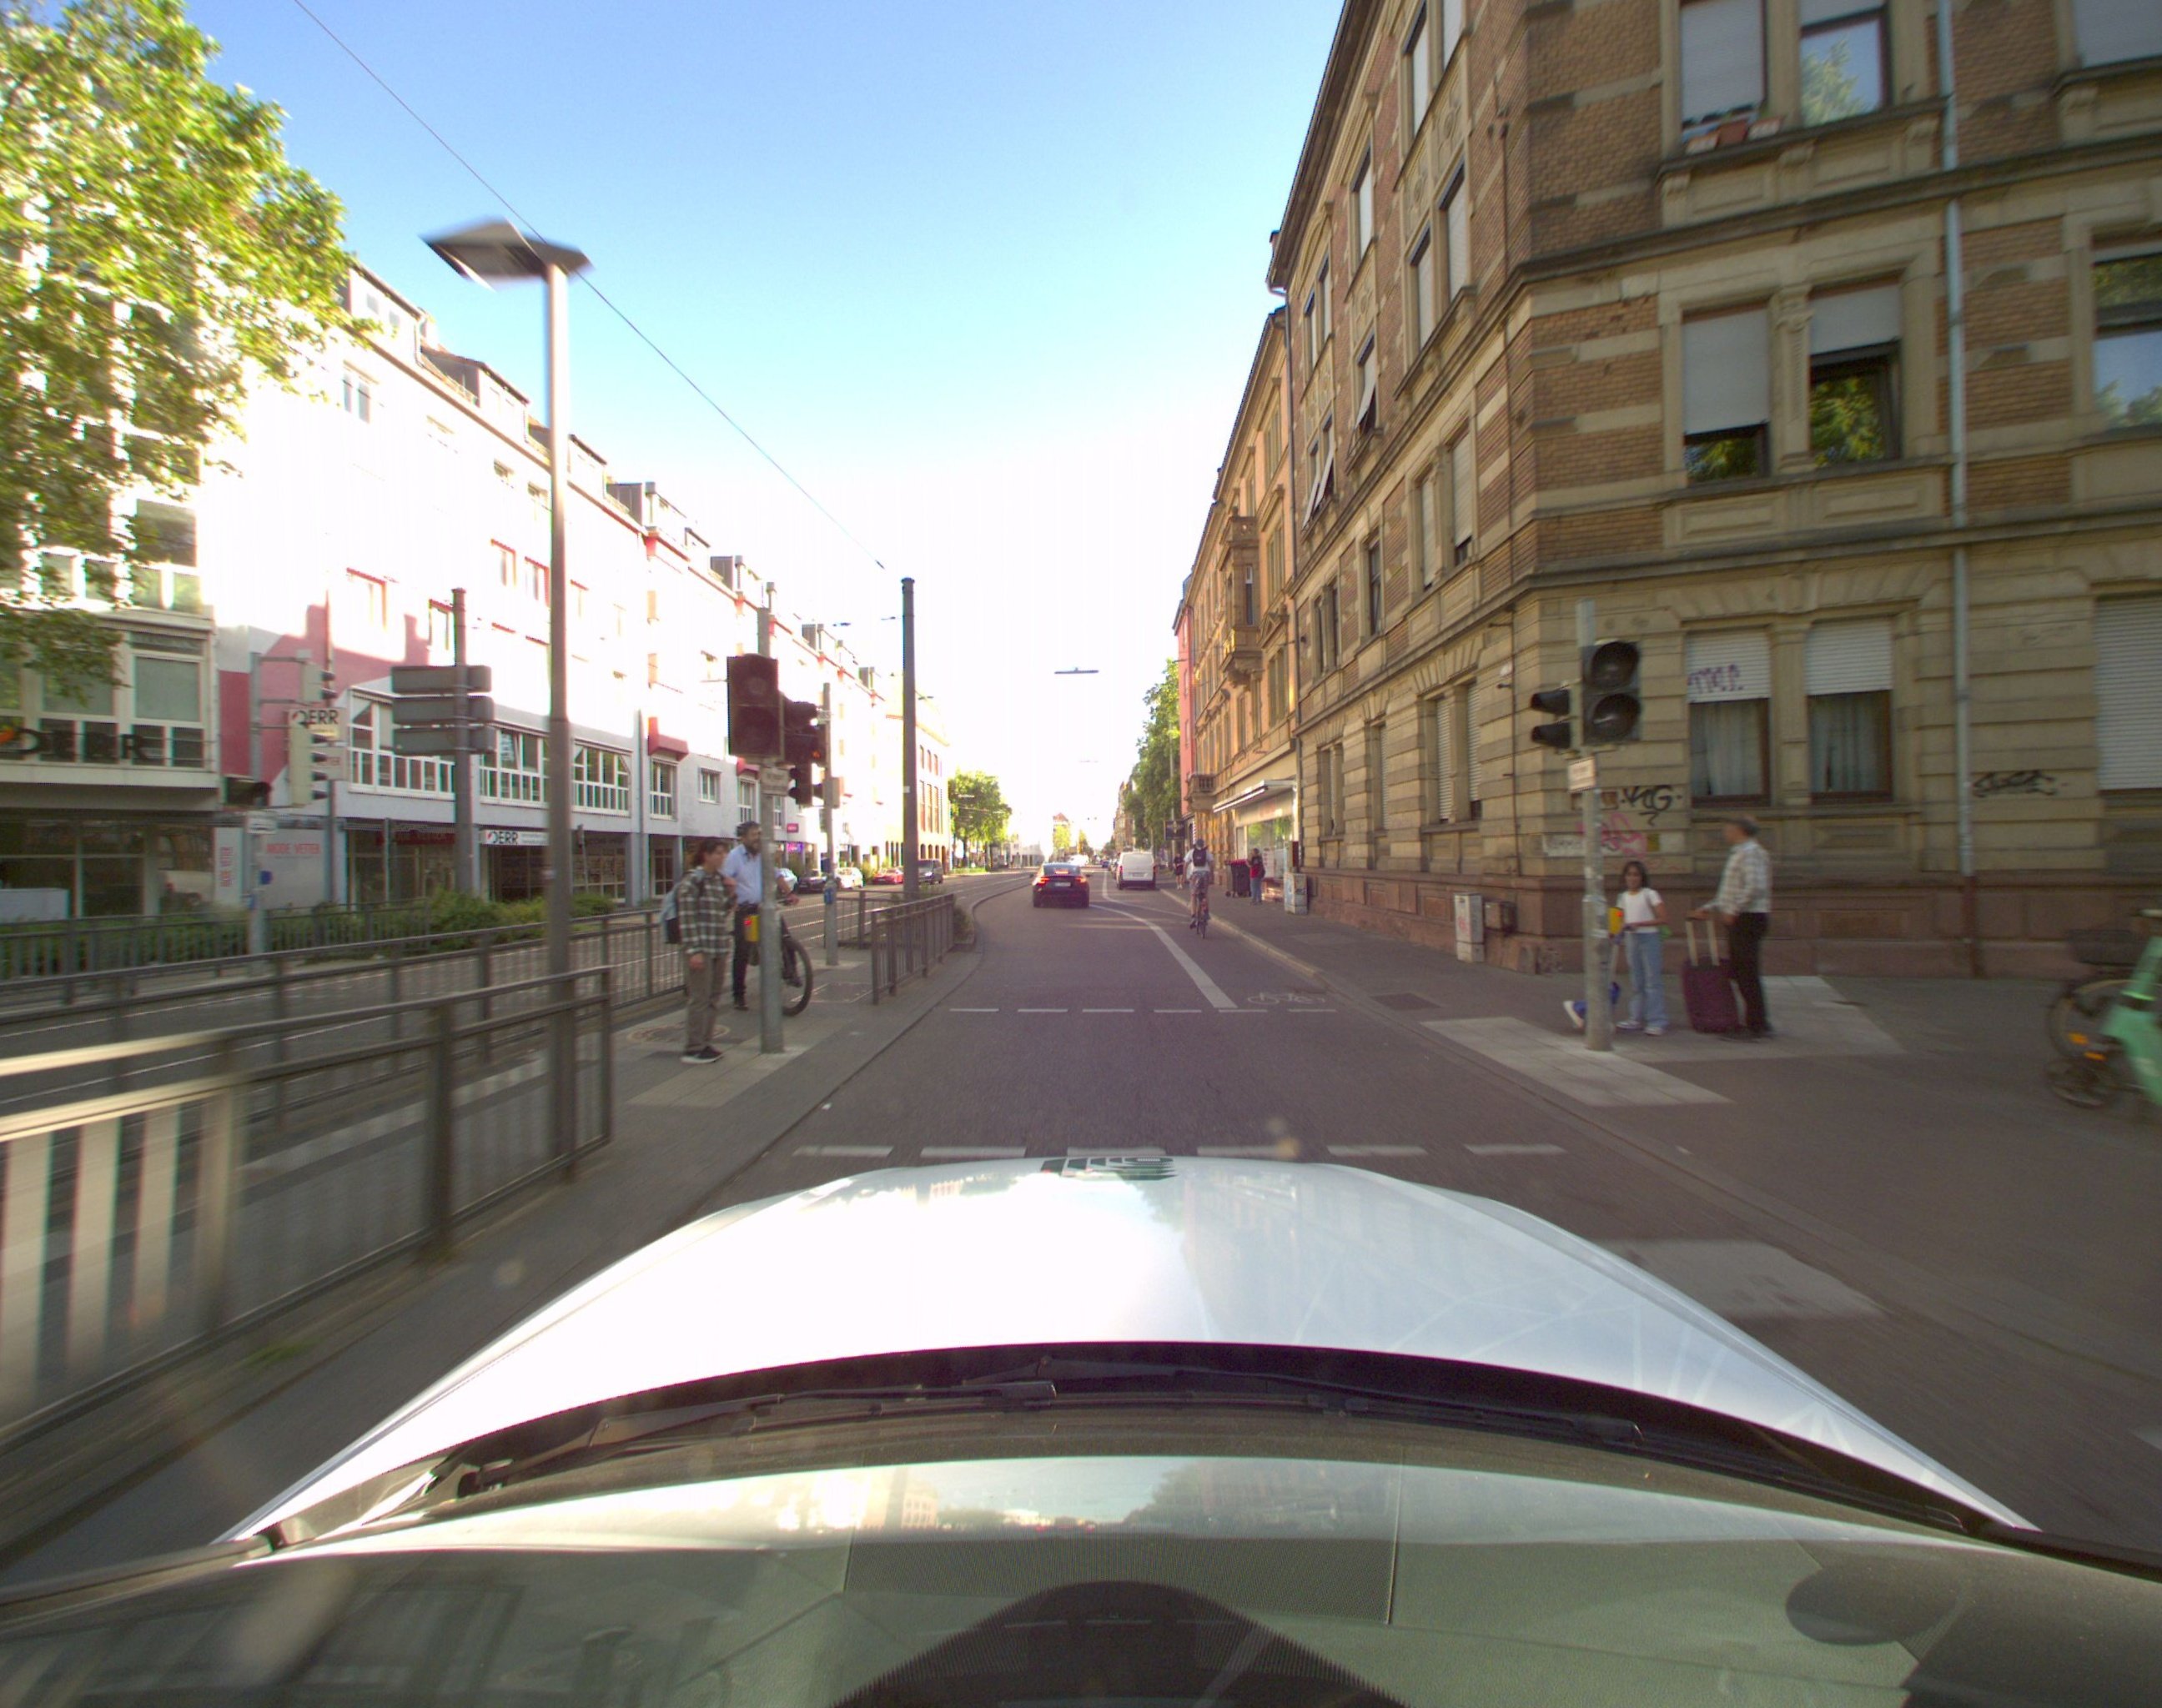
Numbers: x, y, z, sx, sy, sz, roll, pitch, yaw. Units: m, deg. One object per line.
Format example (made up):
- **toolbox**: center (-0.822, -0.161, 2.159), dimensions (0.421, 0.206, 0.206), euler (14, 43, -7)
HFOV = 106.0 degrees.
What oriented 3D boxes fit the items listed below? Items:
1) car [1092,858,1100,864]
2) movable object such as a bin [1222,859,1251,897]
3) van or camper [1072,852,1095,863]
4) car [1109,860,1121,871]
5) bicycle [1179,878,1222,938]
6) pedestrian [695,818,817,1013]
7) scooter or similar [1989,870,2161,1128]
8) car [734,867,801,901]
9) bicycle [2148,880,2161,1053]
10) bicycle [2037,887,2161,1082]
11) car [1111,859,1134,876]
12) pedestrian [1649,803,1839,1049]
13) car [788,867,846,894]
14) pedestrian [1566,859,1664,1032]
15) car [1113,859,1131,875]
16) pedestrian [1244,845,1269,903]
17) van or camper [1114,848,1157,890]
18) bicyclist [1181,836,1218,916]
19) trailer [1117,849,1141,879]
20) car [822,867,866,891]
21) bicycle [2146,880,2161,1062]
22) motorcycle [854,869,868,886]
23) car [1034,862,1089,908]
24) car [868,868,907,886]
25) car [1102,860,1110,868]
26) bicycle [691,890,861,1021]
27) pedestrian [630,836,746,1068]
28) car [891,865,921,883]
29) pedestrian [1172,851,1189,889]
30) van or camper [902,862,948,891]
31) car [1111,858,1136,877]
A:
- **car**: center (4.296, 2.050, 234.609), dimensions (1.989, 1.525, 3.996), euler (-1, 0, -3)
- **movable object such as a bin**: center (5.625, 0.849, 29.463), dimensions (0.773, 1.347, 1.299), euler (-1, -1, 0)
- **van or camper**: center (0.751, 0.912, 215.104), dimensions (2.119, 2.654, 6.923), euler (-2, -1, 40)
- **car**: center (4.724, 1.593, 113.380), dimensions (1.704, 1.457, 4.551), euler (0, -1, 1)
- **bicycle**: center (2.488, 1.100, 17.125), dimensions (0.645, 1.139, 2.096), euler (0, -1, 1)
- **pedestrian**: center (-3.250, 0.576, 8.186), dimensions (0.587, 1.821, 0.948), euler (0, -1, 34)
- **scooter or similar**: center (5.685, 0.742, 4.063), dimensions (0.391, 1.289, 1.515), euler (-1, 0, -14)
- **car**: center (-16.392, 1.544, 42.839), dimensions (1.912, 1.614, 4.367), euler (-1, 0, -1)
- **bicycle**: center (7.800, 0.725, 4.799), dimensions (0.446, 1.115, 1.793), euler (-1, -1, -39)
- **bicycle**: center (6.757, 0.763, 4.558), dimensions (0.446, 1.115, 1.794), euler (-1, 0, -39)
- **car**: center (3.690, 1.210, 72.363), dimensions (1.741, 1.443, 4.322), euler (0, 0, 6)
- **pedestrian**: center (5.233, 0.533, 6.503), dimensions (0.867, 1.807, 0.853), euler (-1, 0, 13)
- **car**: center (-16.090, 1.587, 49.908), dimensions (1.895, 1.458, 4.826), euler (-1, 0, 1)
- **pedestrian**: center (4.585, 0.751, 7.026), dimensions (0.569, 1.414, 0.583), euler (0, 0, 18)
- **car**: center (4.193, 1.315, 84.353), dimensions (1.708, 1.590, 4.065), euler (0, 0, 0)
- **pedestrian**: center (5.374, 0.611, 24.930), dimensions (0.465, 1.728, 0.591), euler (-2, 0, 37)
- **van or camper**: center (2.759, 0.754, 42.342), dimensions (1.924, 2.037, 5.475), euler (0, -1, 1)
- **bicyclist**: center (2.480, 0.455, 17.182), dimensions (0.652, 1.656, 0.927), euler (-1, -1, 1)
- **trailer**: center (3.504, 0.759, 59.748), dimensions (1.654, 2.117, 3.845), euler (0, -1, 3)
- **car**: center (-15.978, 1.644, 55.105), dimensions (1.746, 1.475, 4.205), euler (-1, 0, -1)
- **bicycle**: center (7.407, 0.714, 4.513), dimensions (0.446, 1.115, 1.794), euler (-1, 0, -39)
- **motorcycle**: center (-17.188, 1.831, 63.669), dimensions (0.517, 1.297, 2.082), euler (0, 0, 1)
- **car**: center (-0.600, 0.984, 27.357), dimensions (1.714, 1.405, 3.710), euler (0, 0, 0)
- **car**: center (-15.640, 1.820, 66.175), dimensions (1.953, 1.325, 4.820), euler (0, 0, 0)
- **car**: center (5.046, 2.049, 163.686), dimensions (1.587, 1.433, 3.688), euler (-2, -1, 2)
- **bicycle**: center (-3.140, 0.971, 8.309), dimensions (1.920, 1.094, 0.602), euler (2, -1, 35)
- **pedestrian**: center (-2.846, 0.682, 5.953), dimensions (0.517, 1.590, 0.665), euler (2, -1, -8)
- **car**: center (-15.421, 1.767, 72.010), dimensions (1.663, 1.468, 4.291), euler (0, 0, 1)
- **pedestrian**: center (4.825, 0.786, 39.487), dimensions (0.670, 1.814, 0.756), euler (-1, -1, 0)
- **van or camper**: center (-11.404, 1.605, 59.936), dimensions (1.985, 1.940, 4.839), euler (-4, -1, 4)
- **car**: center (3.520, 1.108, 67.736), dimensions (1.797, 1.435, 4.323), euler (1, -1, 0)
